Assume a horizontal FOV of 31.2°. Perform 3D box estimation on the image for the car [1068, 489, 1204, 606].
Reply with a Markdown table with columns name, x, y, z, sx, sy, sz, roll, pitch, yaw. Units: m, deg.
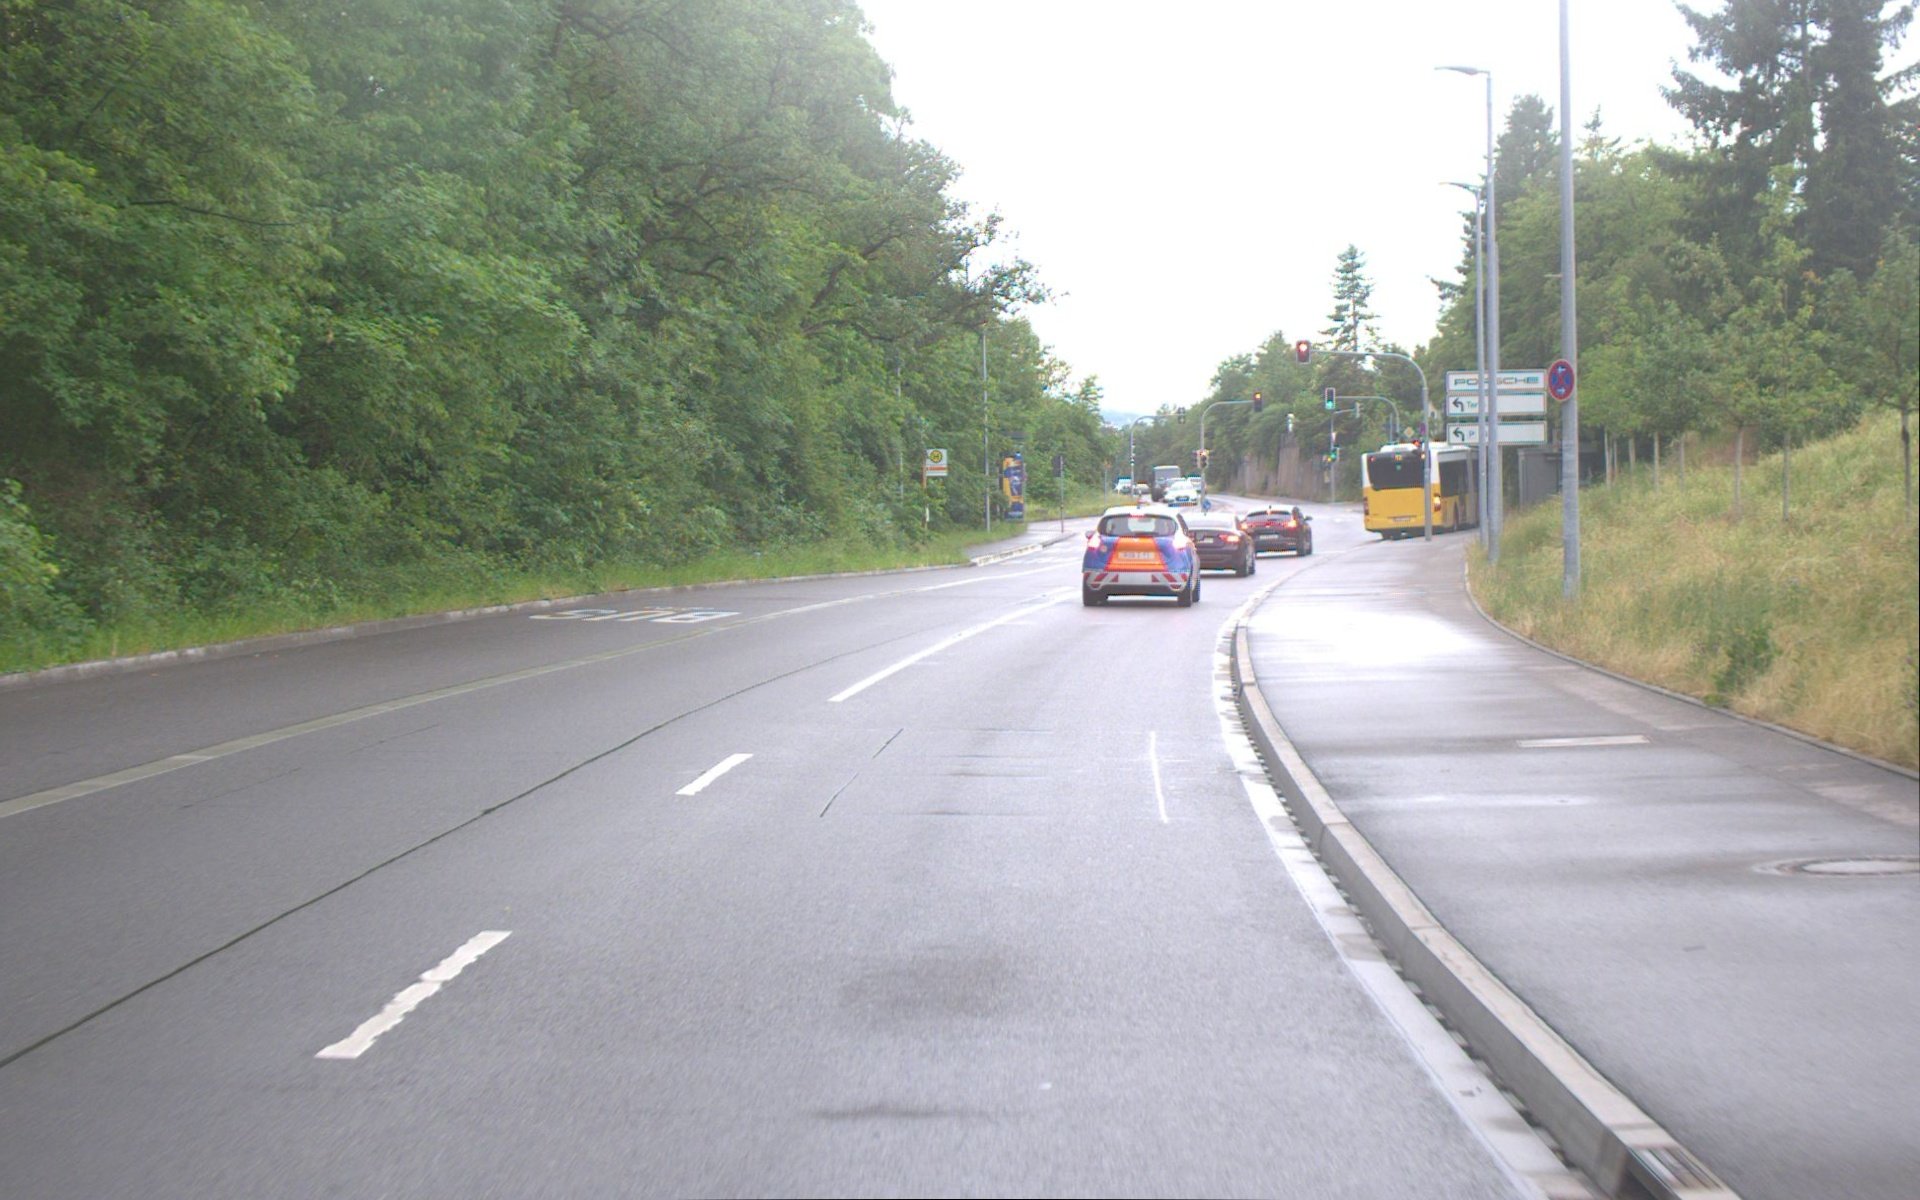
| name | x | y | z | sx | sy | sz | roll | pitch | yaw |
| --- | --- | --- | --- | --- | --- | --- | --- | --- | --- |
| car | 2.854 | -0.877 | 55.064 | 1.994 | 1.683 | 4.000 | -1 | 3 | 5 |

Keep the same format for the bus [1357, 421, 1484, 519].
| name | x | y | z | sx | sy | sz | roll | pitch | yaw |
| --- | --- | --- | --- | --- | --- | --- | --- | --- | --- |
| bus | 15.488 | -4.293 | 115.110 | 2.819 | 3.132 | 9.173 | 1 | 1 | 17 |

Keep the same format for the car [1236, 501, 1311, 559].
| name | x | y | z | sx | sy | sz | roll | pitch | yaw |
| --- | --- | --- | --- | --- | --- | --- | --- | --- | --- |
| car | 8.592 | -1.924 | 94.265 | 1.994 | 1.546 | 3.999 | 0 | 1 | 5 |

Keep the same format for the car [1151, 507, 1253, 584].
| name | x | y | z | sx | sy | sz | roll | pitch | yaw |
| --- | --- | --- | --- | --- | --- | --- | --- | --- | --- |
| car | 5.229 | -1.193 | 73.895 | 1.928 | 1.481 | 3.799 | -1 | 3 | 8 |

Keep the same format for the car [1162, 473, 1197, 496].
| name | x | y | z | sx | sy | sz | roll | pitch | yaw |
| --- | --- | --- | --- | --- | --- | --- | --- | --- | --- |
| car | 13.788 | -7.265 | 216.127 | 1.993 | 1.415 | 4.000 | 0 | 1 | 1 |
